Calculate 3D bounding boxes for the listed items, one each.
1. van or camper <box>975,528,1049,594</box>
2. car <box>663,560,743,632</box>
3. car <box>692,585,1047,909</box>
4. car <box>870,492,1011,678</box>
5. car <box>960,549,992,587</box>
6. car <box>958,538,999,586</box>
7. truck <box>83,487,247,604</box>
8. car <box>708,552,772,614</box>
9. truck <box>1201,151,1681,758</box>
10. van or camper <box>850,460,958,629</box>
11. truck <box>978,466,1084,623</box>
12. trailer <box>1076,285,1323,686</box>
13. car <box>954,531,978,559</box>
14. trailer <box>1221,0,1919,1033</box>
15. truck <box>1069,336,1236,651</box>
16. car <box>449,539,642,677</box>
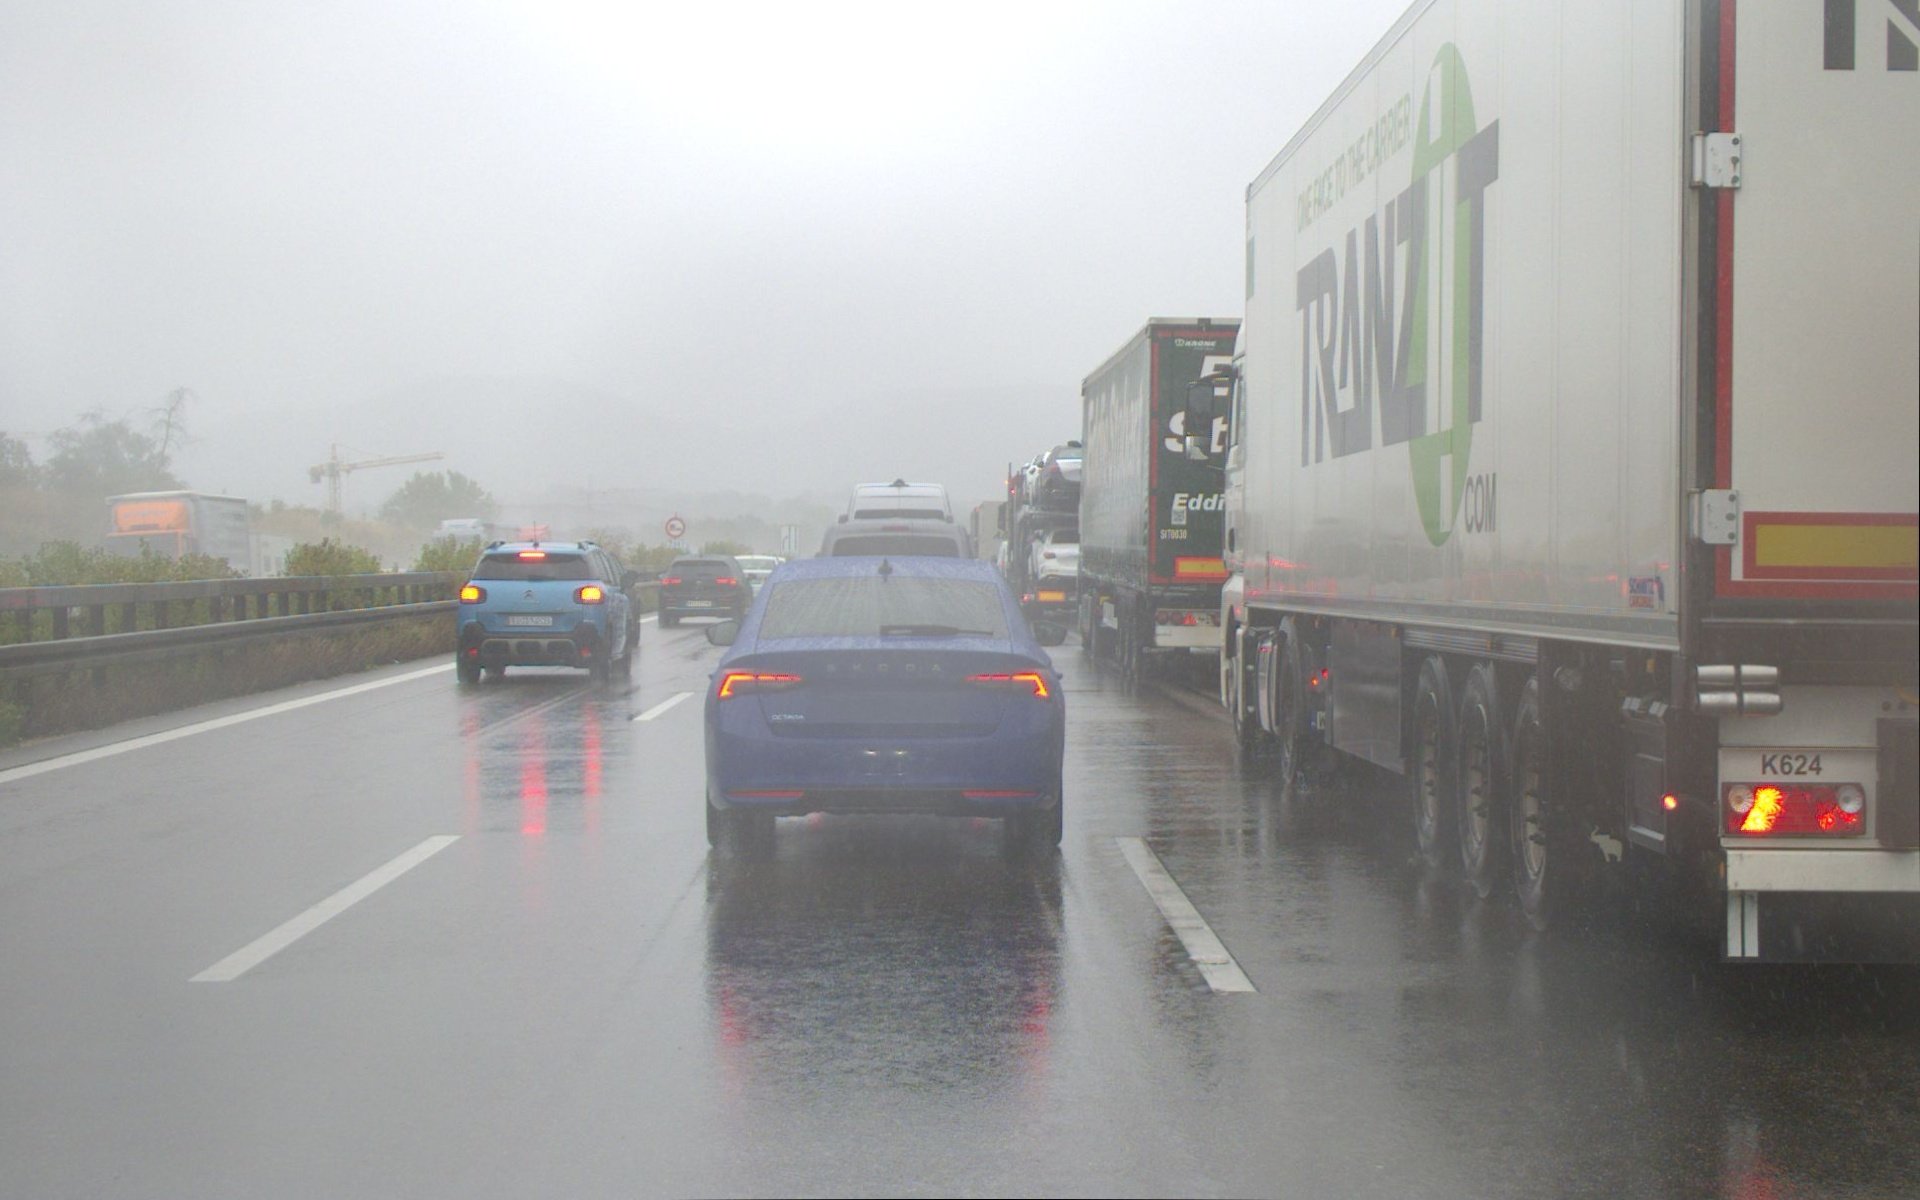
[{"bbox_3d":[1.314,-1.023,88.820,1.771,1.619,4.484,0,2,-1],"label":"van or camper"},{"bbox_3d":[-5.273,-0.106,70.772,1.439,1.415,3.322,0,1,-1],"label":"car"},{"bbox_3d":[-0.410,0.670,17.849,1.635,1.440,4.000,0,1,0],"label":"car"},{"bbox_3d":[-0.203,-0.179,34.396,1.336,1.773,3.322,0,1,-1],"label":"car"},{"bbox_3d":[0.637,-1.328,141.560,1.248,1.507,3.108,-1,2,-1],"label":"car"},{"bbox_3d":[0.685,-1.433,129.752,1.448,1.777,3.409,0,1,-1],"label":"car"},{"bbox_3d":[-23.061,-1.646,100.226,2.925,3.270,9.257,0,2,-2],"label":"truck"},{"bbox_3d":[-5.585,-0.442,87.552,1.439,1.528,3.322,0,1,-1],"label":"car"},{"bbox_3d":[3.195,-0.965,24.038,2.630,3.814,4.791,0,1,-1],"label":"truck"},{"bbox_3d":[-0.951,-0.976,59.330,1.797,2.797,4.768,0,1,-1],"label":"van or camper"},{"bbox_3d":[1.550,-1.316,78.333,1.993,3.410,8.033,0,2,-2],"label":"truck"},{"bbox_3d":[2.680,-1.313,41.398,2.047,4.162,11.449,0,1,-1],"label":"trailer"},{"bbox_3d":[0.375,-3.529,221.341,1.448,1.777,3.409,0,1,-1],"label":"car"},{"bbox_3d":[3.261,-0.900,17.330,2.630,3.999,14.630,0,1,-1],"label":"trailer"},{"bbox_3d":[2.619,-1.459,47.610,2.047,4.178,4.000,0,1,-1],"label":"truck"},{"bbox_3d":[-4.751,0.049,39.865,1.721,1.518,4.000,0,1,0],"label":"car"}]
